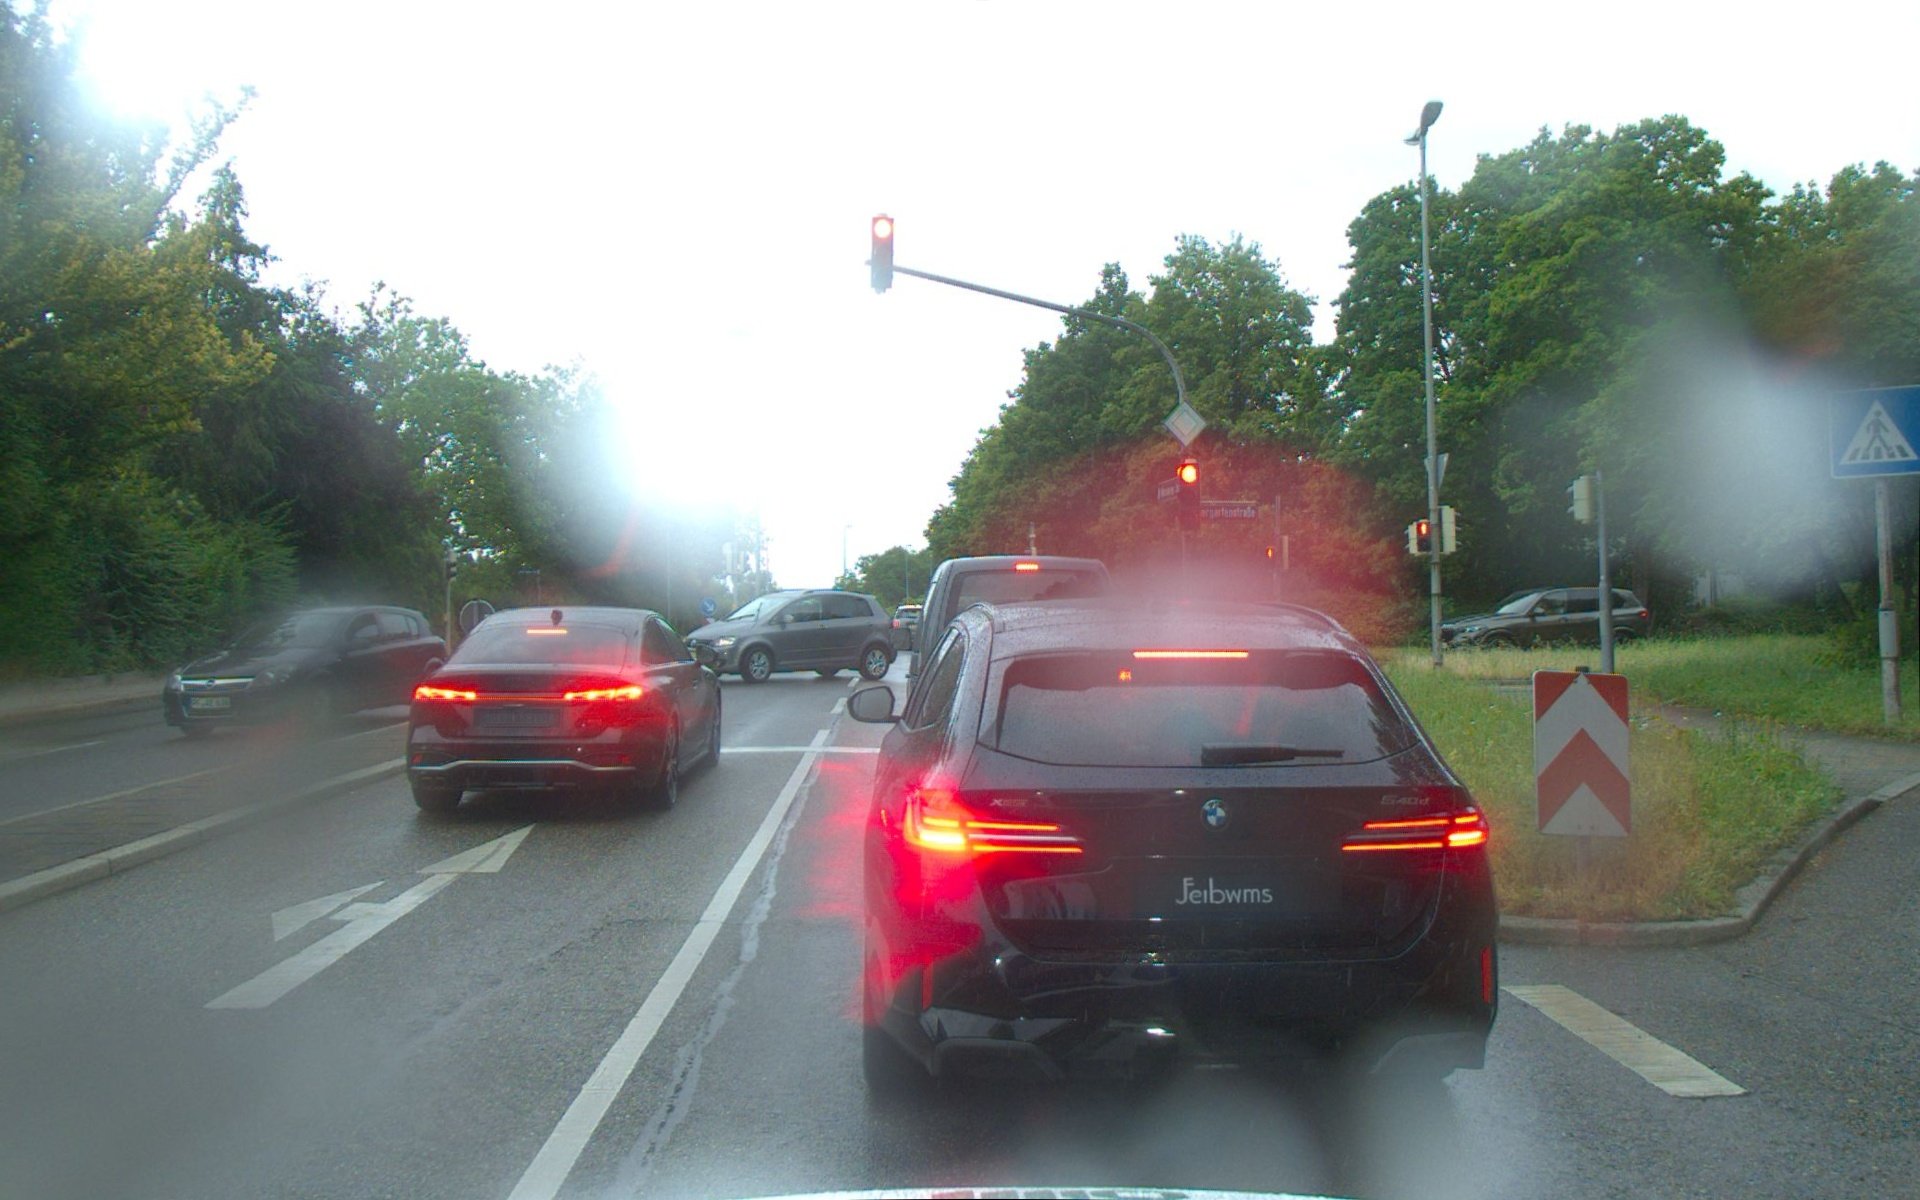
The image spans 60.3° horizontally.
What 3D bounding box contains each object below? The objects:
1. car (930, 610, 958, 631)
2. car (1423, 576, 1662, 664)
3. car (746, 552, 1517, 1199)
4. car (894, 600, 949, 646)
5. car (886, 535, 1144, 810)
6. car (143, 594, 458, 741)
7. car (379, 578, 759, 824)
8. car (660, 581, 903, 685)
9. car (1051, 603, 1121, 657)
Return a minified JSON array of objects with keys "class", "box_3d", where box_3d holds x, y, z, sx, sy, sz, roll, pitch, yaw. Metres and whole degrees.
[{"class":"car","box_3d":[-1.313,1.693,137.860,1.952,1.652,3.954,-2,0,3]},{"class":"car","box_3d":[12.828,0.413,36.534,4.620,1.747,1.994,-2,0,-12]},{"class":"car","box_3d":[0.521,0.718,6.322,1.858,1.578,4.616,0,-1,3]},{"class":"car","box_3d":[-1.341,0.773,55.898,1.664,1.452,3.511,-2,0,-4]},{"class":"car","box_3d":[0.374,0.520,13.454,1.781,1.901,3.952,0,0,0]},{"class":"car","box_3d":[-7.779,0.731,19.962,1.855,1.535,4.003,-2,0,6]},{"class":"car","box_3d":[-2.857,0.685,13.143,1.953,1.554,4.327,-2,0,0]},{"class":"car","box_3d":[-3.135,0.549,29.484,3.992,1.630,1.724,-2,0,-39]},{"class":"car","box_3d":[3.963,0.935,52.570,1.835,1.569,3.952,-2,0,0]}]
